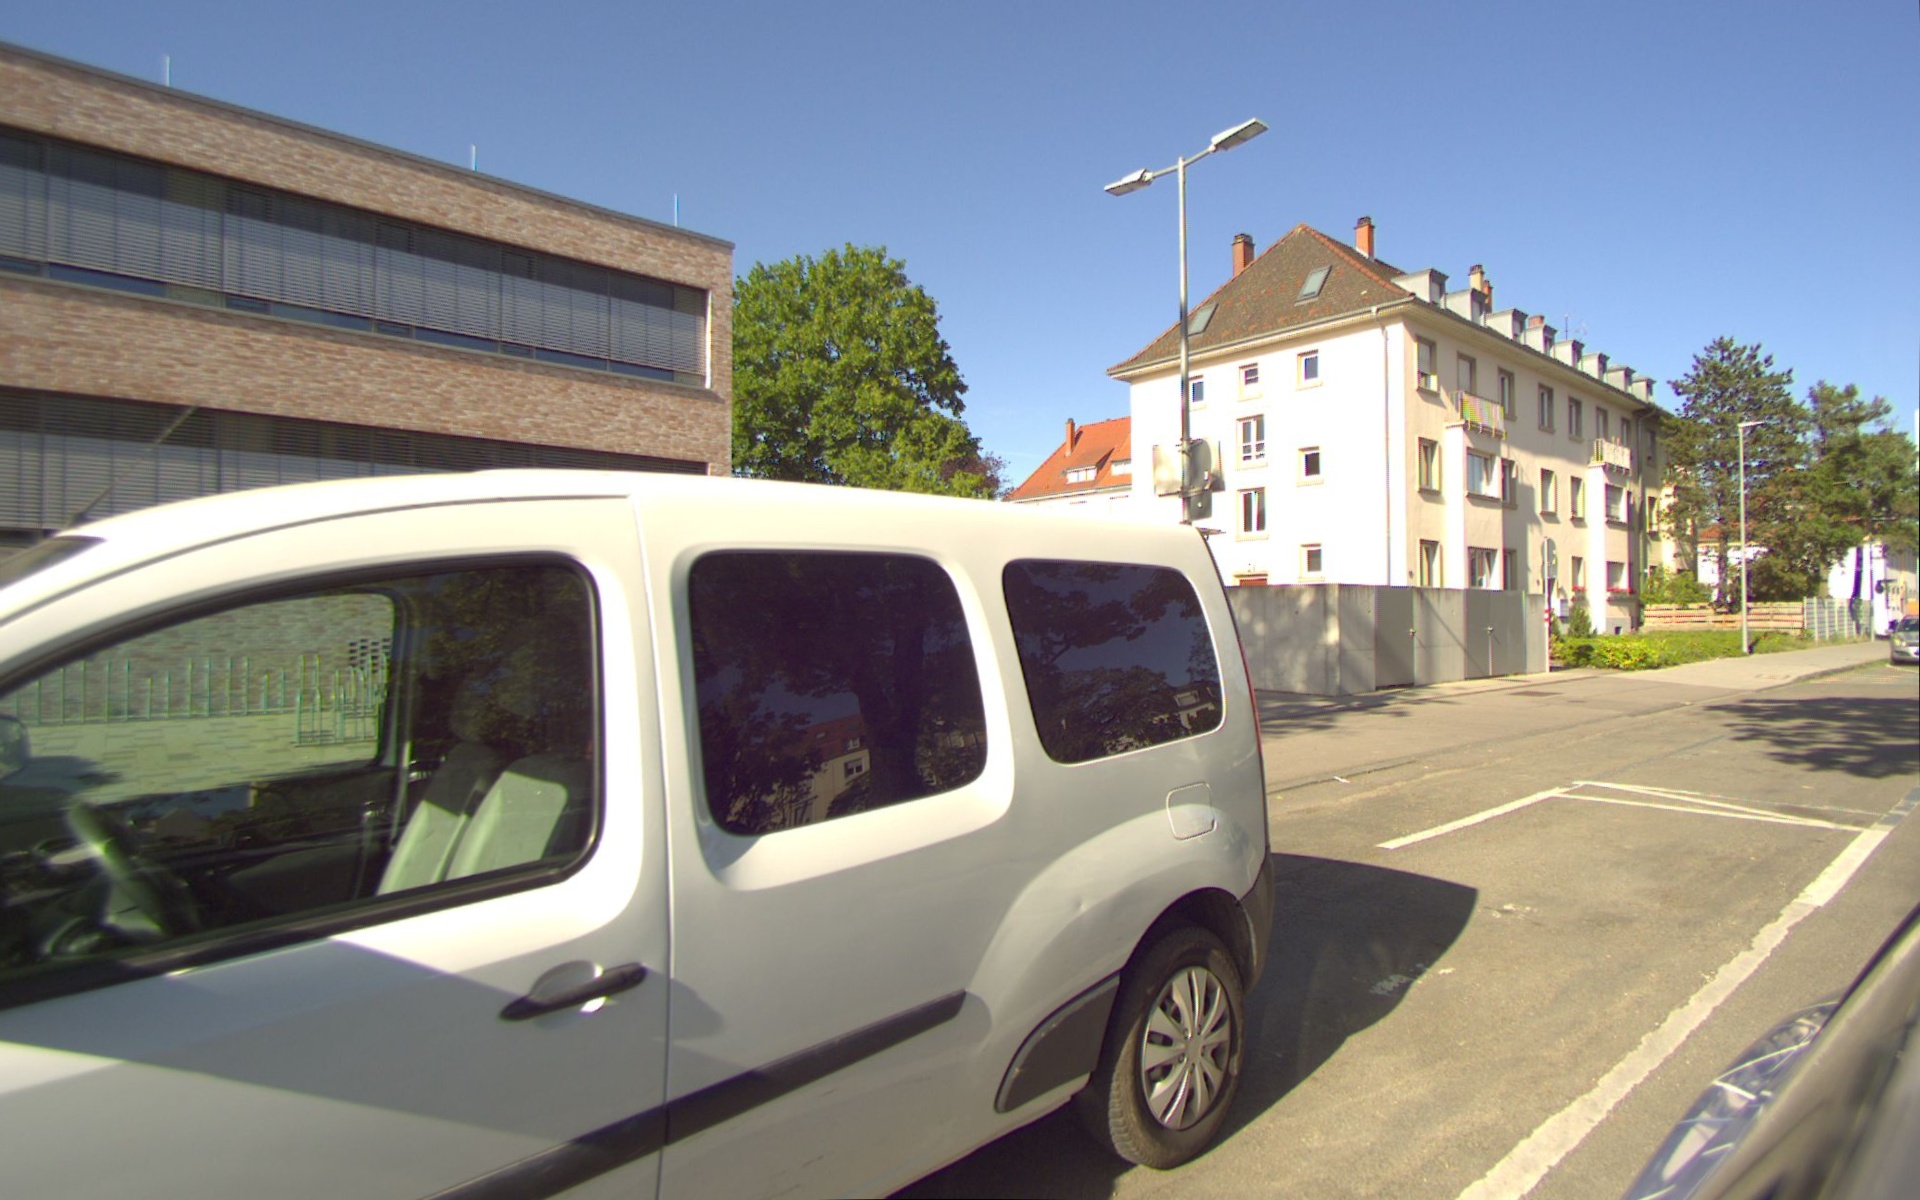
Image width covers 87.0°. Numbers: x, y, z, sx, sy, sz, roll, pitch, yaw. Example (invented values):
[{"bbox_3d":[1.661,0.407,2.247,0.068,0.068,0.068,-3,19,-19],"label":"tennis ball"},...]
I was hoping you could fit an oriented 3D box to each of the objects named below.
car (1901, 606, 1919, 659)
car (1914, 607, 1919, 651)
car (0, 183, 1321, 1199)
[{"bbox_3d":[28.925,0.917,29.731,4.339,1.484,1.659,1,-3,-45],"label":"car"},{"bbox_3d":[33.716,0.932,34.114,4.213,1.439,1.797,0,-3,-41],"label":"car"},{"bbox_3d":[-1.119,0.514,2.337,4.385,1.933,1.810,1,-2,-42],"label":"car"}]
